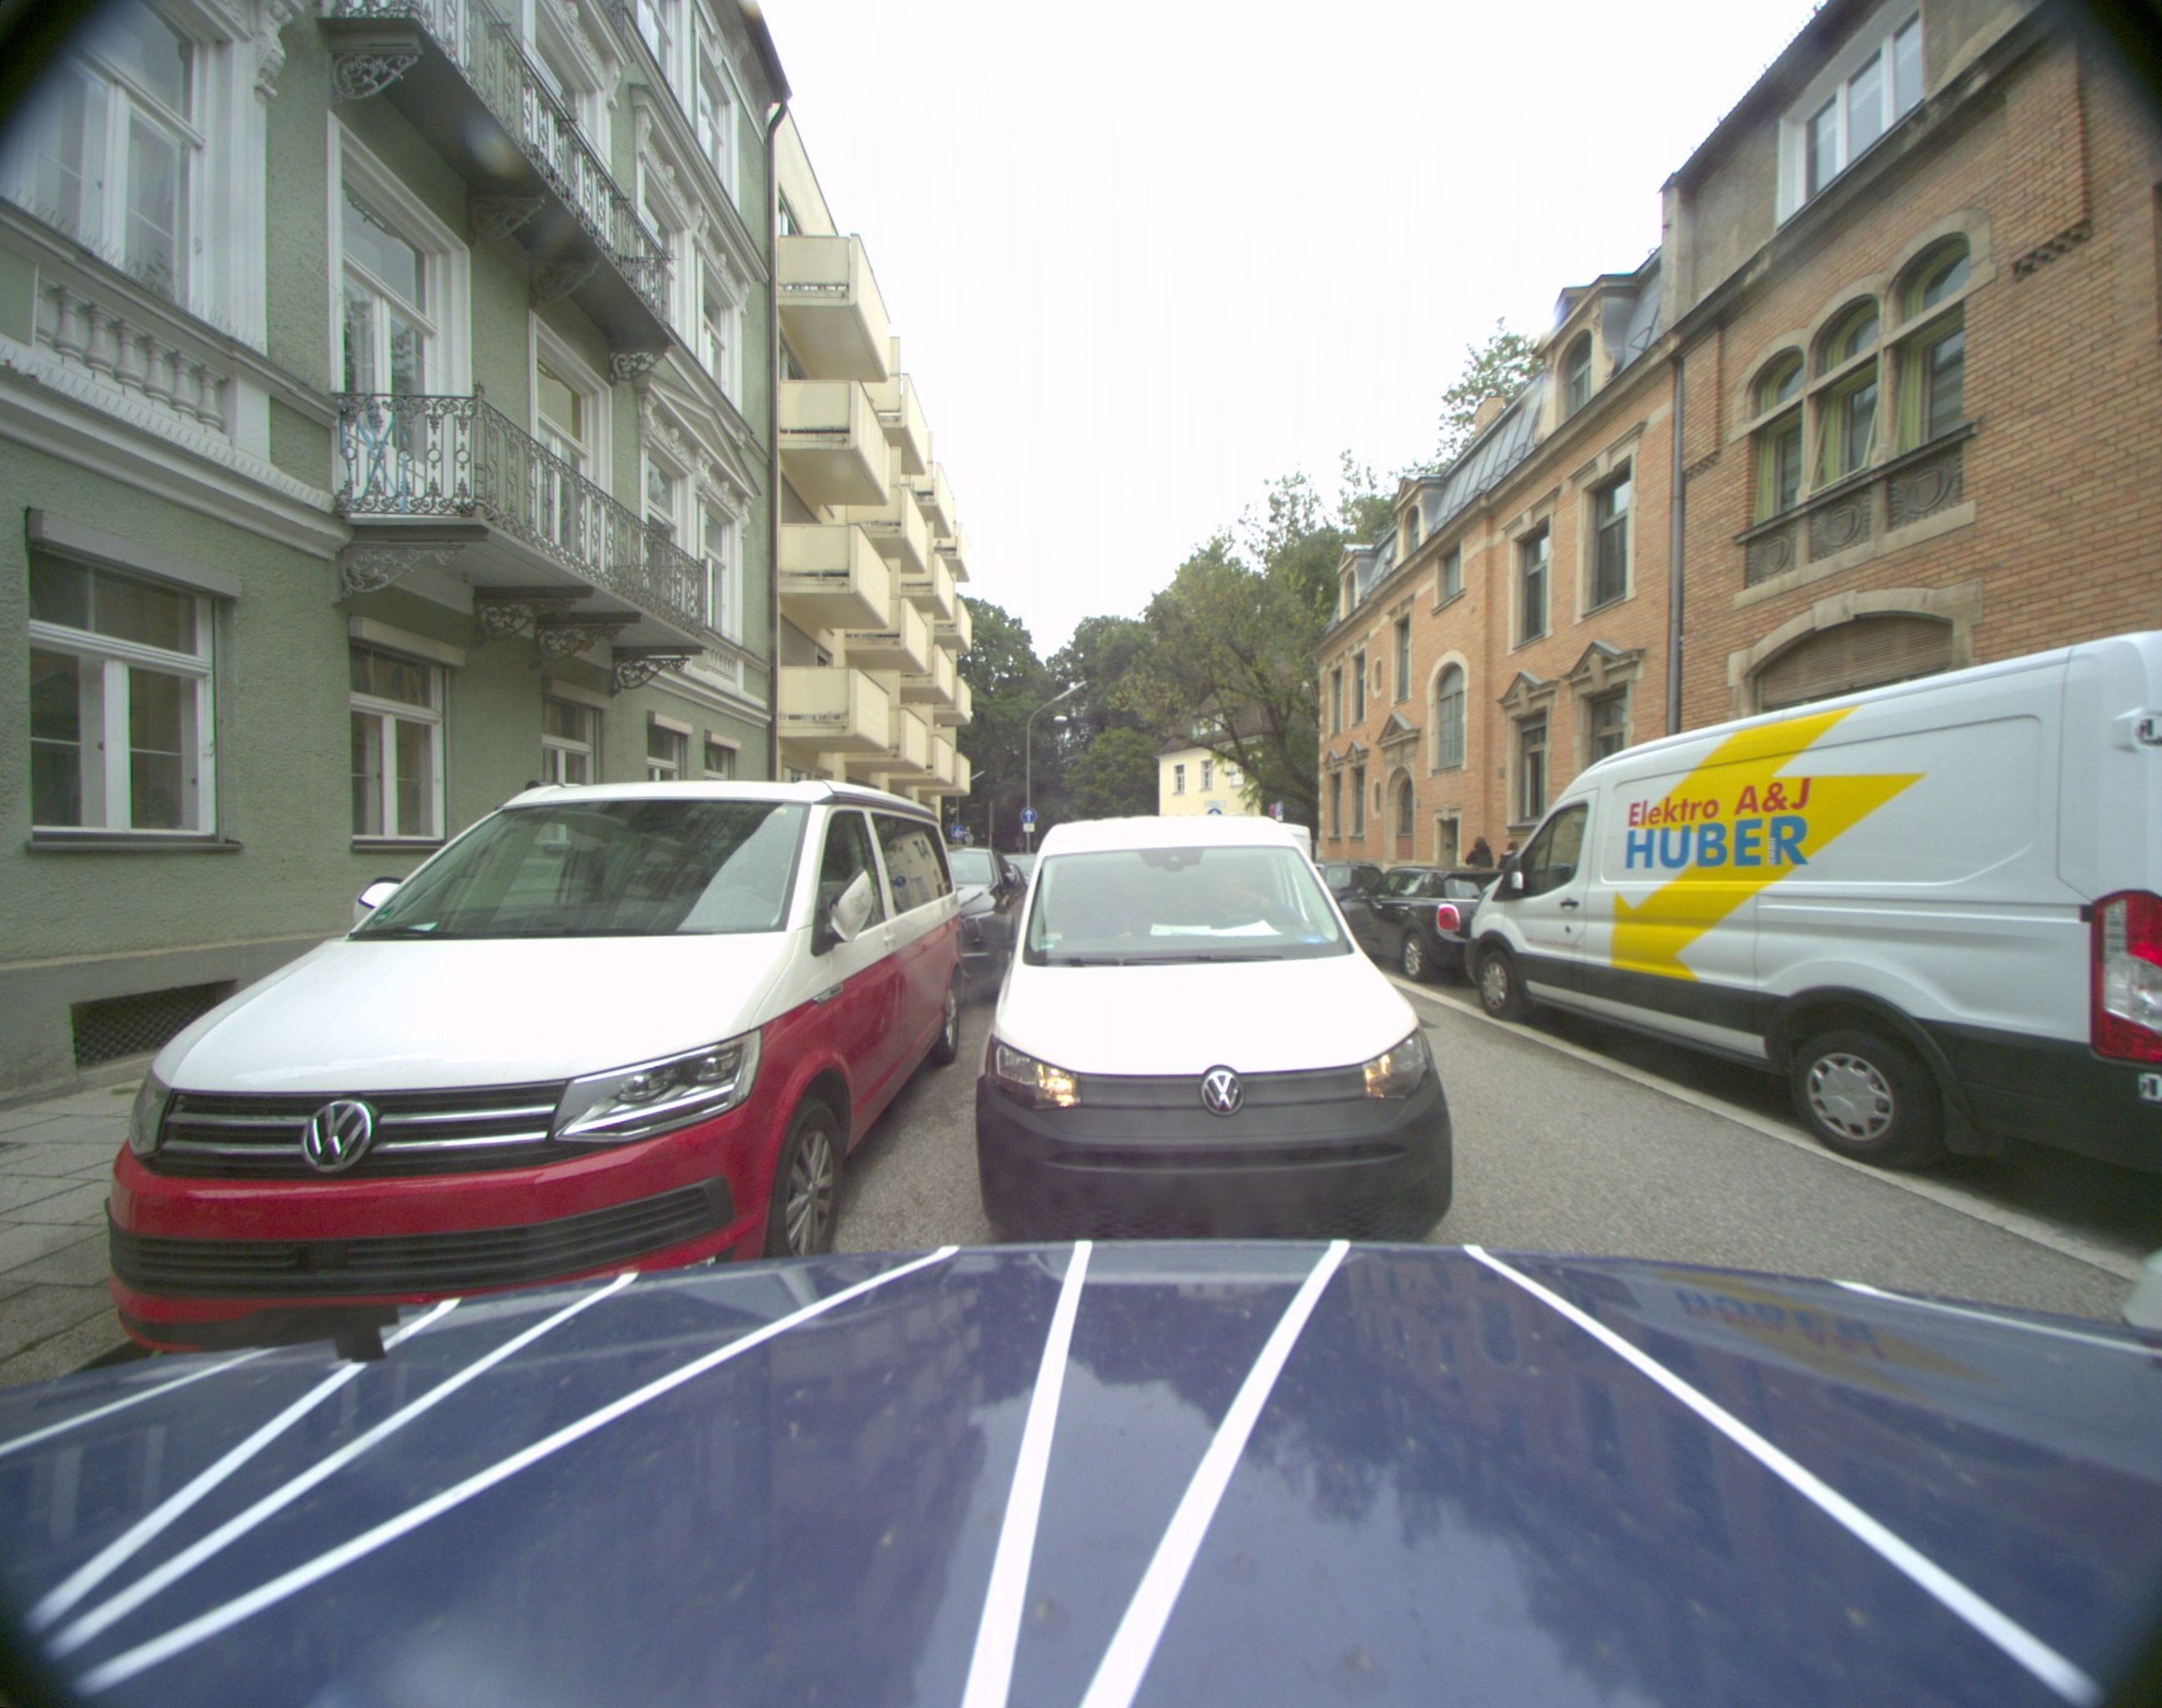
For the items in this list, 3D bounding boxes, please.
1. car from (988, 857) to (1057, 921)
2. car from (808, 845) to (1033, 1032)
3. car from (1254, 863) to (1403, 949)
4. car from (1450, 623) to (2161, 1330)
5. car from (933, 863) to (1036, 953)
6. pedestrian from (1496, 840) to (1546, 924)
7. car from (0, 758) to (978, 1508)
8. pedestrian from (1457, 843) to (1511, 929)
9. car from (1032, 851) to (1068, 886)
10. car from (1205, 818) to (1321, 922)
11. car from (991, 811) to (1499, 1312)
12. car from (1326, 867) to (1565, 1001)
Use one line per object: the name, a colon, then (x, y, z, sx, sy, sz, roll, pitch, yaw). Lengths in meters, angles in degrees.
car: (-1.544, 0.889, 21.170, 1.551, 1.562, 3.977, -2, 0, 0)
car: (-1.700, 0.832, 9.650, 1.832, 1.747, 4.553, -2, 0, 0)
car: (4.858, 0.951, 15.507, 1.694, 1.434, 3.984, 2, 0, 0)
car: (4.794, 0.427, 5.216, 1.986, 2.463, 5.223, 1, 1, 1)
car: (-1.833, 0.992, 15.559, 1.551, 1.488, 3.977, -2, 0, 0)
pedestrian: (8.646, 0.542, 14.942, 0.634, 1.623, 0.467, 2, 1, 1)
car: (-1.898, 0.729, 4.262, 1.858, 1.885, 4.592, -2, 0, 1)
pedestrian: (7.826, 0.603, 14.781, 0.634, 1.623, 0.675, 2, 1, 1)
car: (-1.606, 0.719, 39.967, 1.766, 1.740, 3.999, 1, 0, -1)
car: (4.927, 0.417, 21.242, 2.118, 2.525, 4.421, 3, 0, 1)
car: (0.609, 0.725, 4.689, 1.776, 1.761, 4.000, 0, 0, 1)
car: (4.739, 0.942, 10.449, 1.527, 1.434, 3.540, 2, 0, 0)
